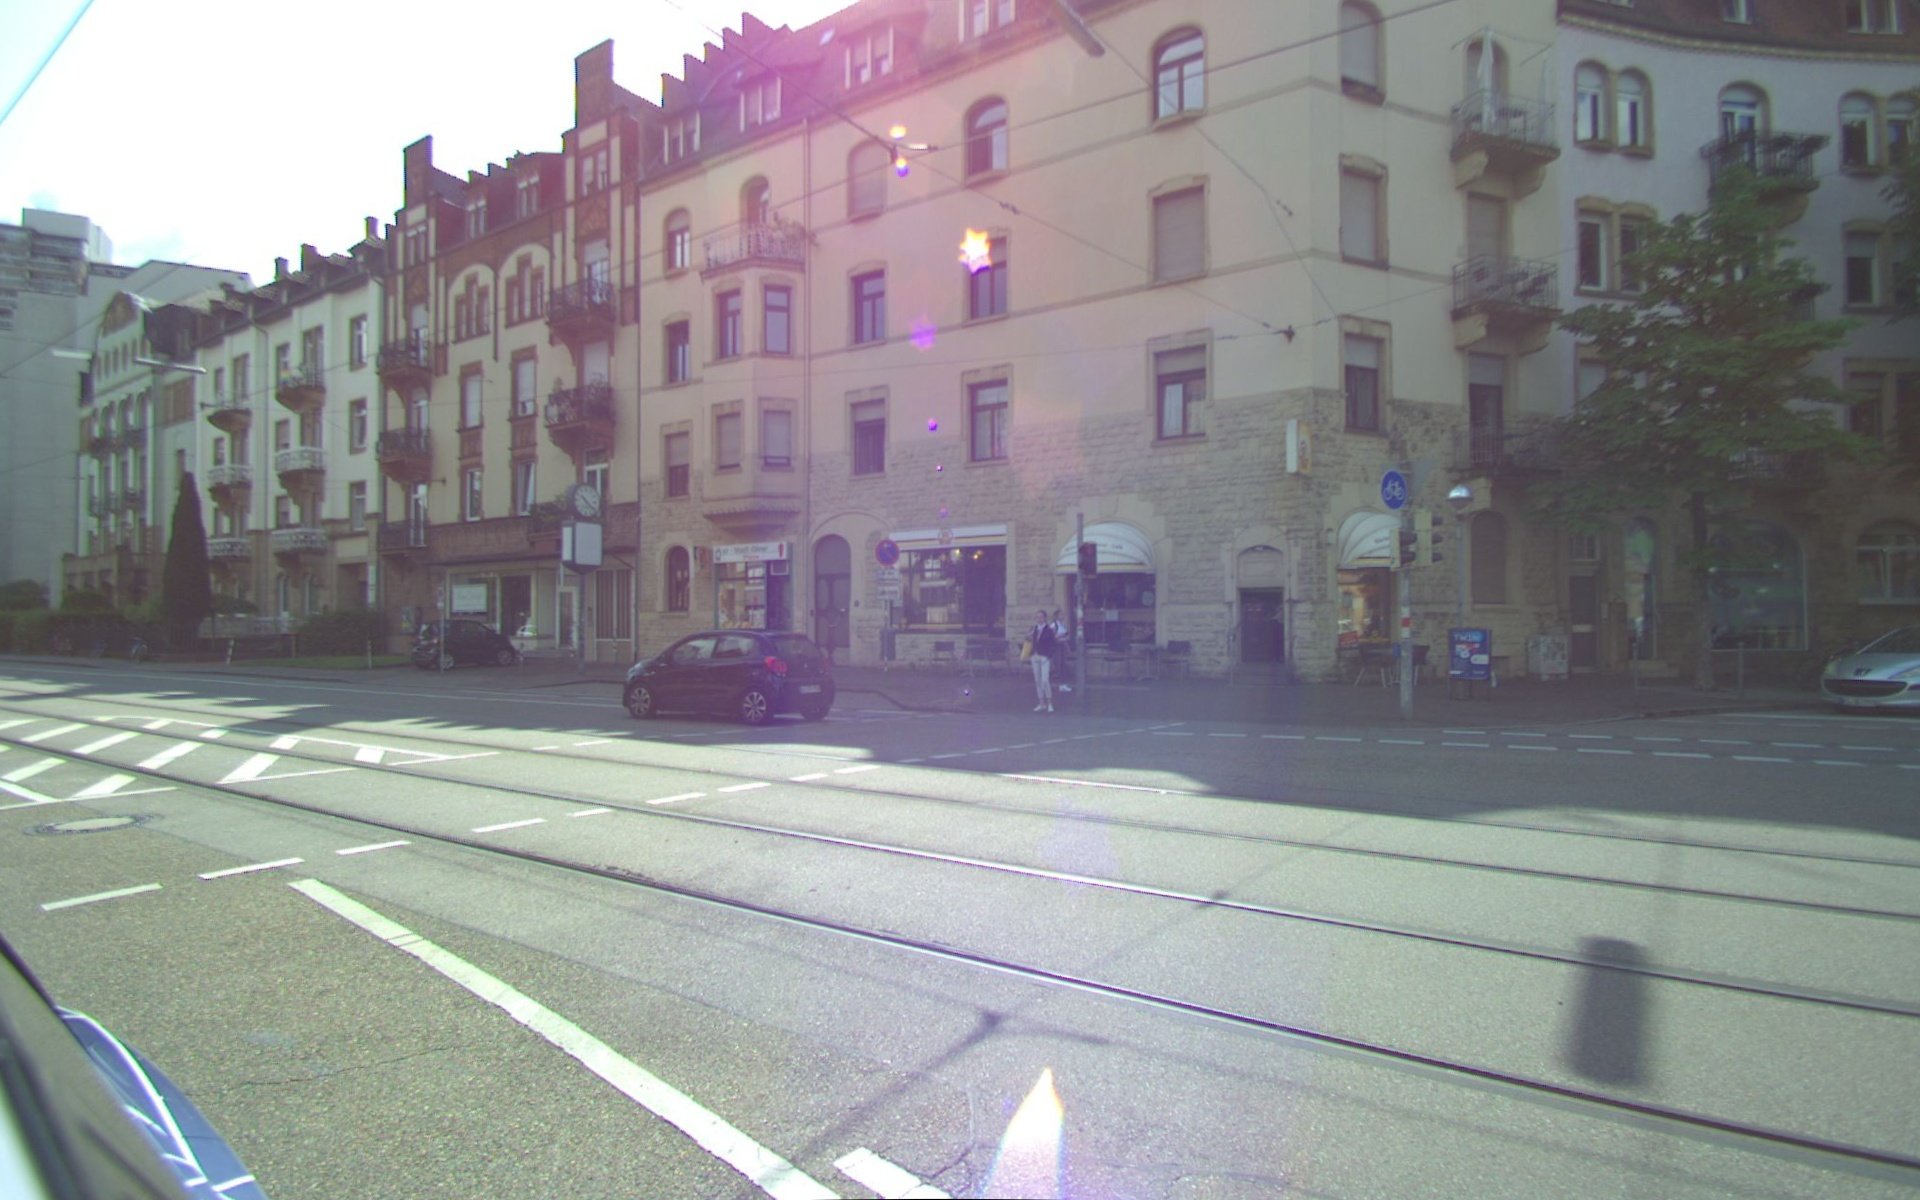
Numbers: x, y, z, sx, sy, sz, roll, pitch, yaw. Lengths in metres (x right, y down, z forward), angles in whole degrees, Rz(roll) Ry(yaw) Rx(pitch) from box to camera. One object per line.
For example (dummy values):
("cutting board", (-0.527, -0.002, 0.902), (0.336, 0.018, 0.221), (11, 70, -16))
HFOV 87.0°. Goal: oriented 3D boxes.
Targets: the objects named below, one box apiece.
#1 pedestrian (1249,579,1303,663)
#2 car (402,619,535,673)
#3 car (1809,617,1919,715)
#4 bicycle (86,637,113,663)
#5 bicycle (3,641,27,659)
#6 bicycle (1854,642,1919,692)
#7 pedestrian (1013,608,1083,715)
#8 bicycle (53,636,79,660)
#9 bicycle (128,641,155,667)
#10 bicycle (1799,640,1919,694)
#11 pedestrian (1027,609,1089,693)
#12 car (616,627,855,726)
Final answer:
("pedestrian", (6.545, 0.431, 20.932), (0.855, 1.685, 0.813), (-2, -2, 33))
("car", (-15.650, 1.419, 32.319), (1.703, 1.497, 3.414), (-2, 0, 36))
("car", (15.714, 0.978, 15.801), (3.809, 1.431, 1.725), (0, -2, -12))
("bicycle", (-36.810, 2.123, 43.280), (1.871, 1.037, 0.533), (-1, -1, 39))
("bicycle", (-45.681, 2.397, 48.932), (1.871, 0.803, 0.580), (0, 1, 39))
("bicycle", (18.243, 1.288, 19.210), (0.503, 0.889, 2.035), (0, 0, -9))
("pedestrian", (1.504, 1.032, 17.328), (0.871, 1.717, 0.750), (-2, 2, 34))
("bicycle", (-40.420, 2.167, 45.741), (1.871, 0.993, 0.580), (-1, -1, 39))
("bicycle", (-32.227, 2.105, 39.818), (2.066, 0.913, 0.518), (1, 0, 42))
("bicycle", (16.937, 1.226, 18.962), (0.515, 0.889, 2.035), (0, 0, -9))
("pedestrian", (1.940, 0.993, 19.942), (0.960, 1.553, 0.689), (-2, 2, 31))
("car", (-3.517, 1.144, 15.811), (3.420, 1.398, 1.614), (-1, -3, 28))
